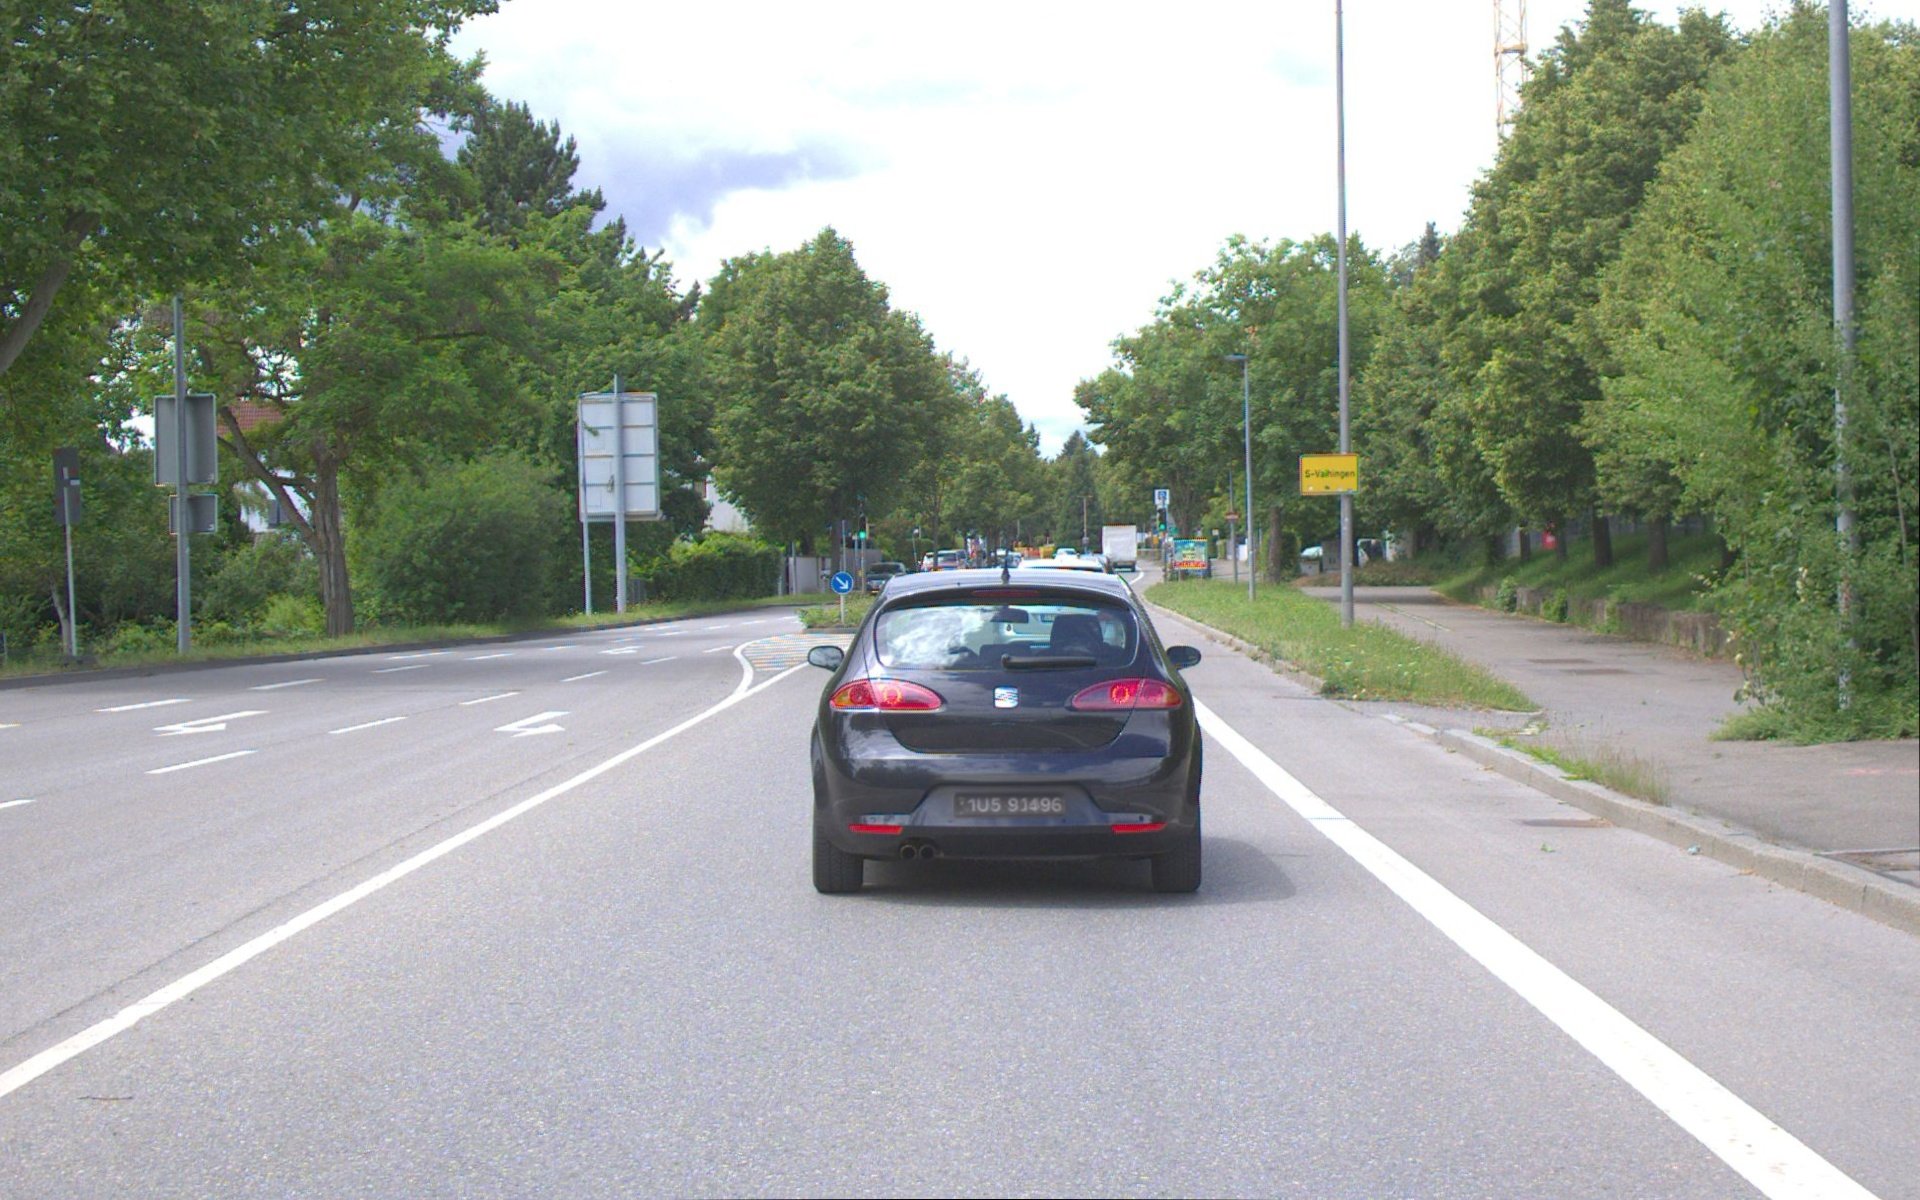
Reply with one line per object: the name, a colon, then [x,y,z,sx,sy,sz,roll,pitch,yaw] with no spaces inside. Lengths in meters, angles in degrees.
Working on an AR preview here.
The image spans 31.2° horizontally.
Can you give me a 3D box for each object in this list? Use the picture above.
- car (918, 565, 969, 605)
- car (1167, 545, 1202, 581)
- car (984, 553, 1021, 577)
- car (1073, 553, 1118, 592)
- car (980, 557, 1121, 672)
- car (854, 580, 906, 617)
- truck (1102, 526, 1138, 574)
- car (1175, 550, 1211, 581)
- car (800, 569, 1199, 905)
car: [-0.832,-0.779,173.744,2.100,1.890,5.783,-3,1,4]
car: [11.271,-1.864,172.589,1.688,1.706,4.213,-1,1,3]
car: [2.865,-2.349,230.896,2.100,1.501,5.783,-3,1,4]
car: [6.080,-1.226,153.700,1.881,1.683,4.213,-1,1,3]
car: [1.270,0.176,47.216,1.846,1.504,3.811,0,1,2]
car: [-3.333,-0.076,144.691,1.718,1.390,4.801,-3,1,4]
truck: [10.648,-3.310,228.752,2.279,3.093,8.510,1,0,3]
car: [11.336,-1.679,167.462,1.688,1.485,3.354,-1,1,3]
car: [0.206,0.556,16.302,1.663,1.396,3.812,0,1,1]
